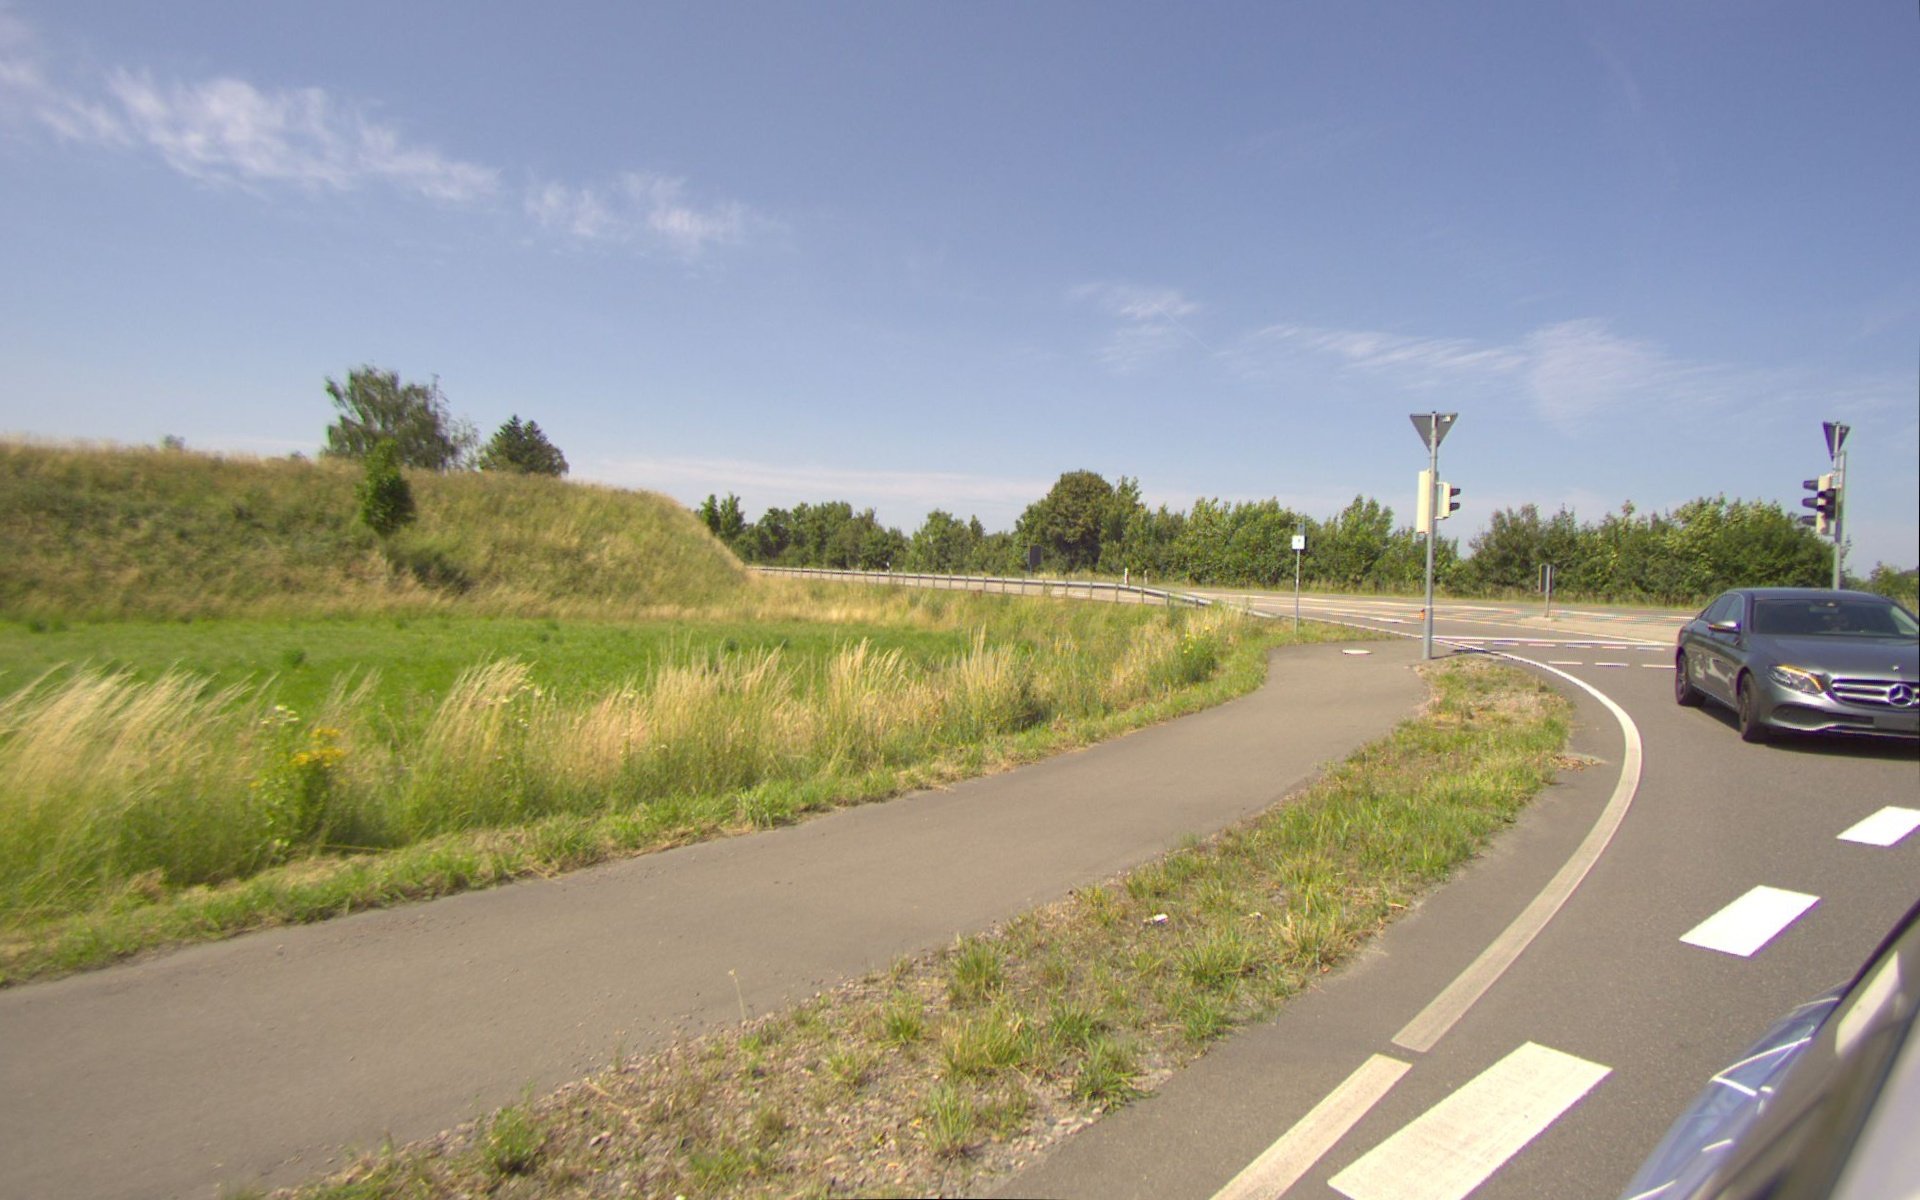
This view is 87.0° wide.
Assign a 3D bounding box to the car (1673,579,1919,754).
[{"bbox_3d":[9.106,0.531,10.718,1.876,1.465,4.485,0,1,27],"label":"car"}]
